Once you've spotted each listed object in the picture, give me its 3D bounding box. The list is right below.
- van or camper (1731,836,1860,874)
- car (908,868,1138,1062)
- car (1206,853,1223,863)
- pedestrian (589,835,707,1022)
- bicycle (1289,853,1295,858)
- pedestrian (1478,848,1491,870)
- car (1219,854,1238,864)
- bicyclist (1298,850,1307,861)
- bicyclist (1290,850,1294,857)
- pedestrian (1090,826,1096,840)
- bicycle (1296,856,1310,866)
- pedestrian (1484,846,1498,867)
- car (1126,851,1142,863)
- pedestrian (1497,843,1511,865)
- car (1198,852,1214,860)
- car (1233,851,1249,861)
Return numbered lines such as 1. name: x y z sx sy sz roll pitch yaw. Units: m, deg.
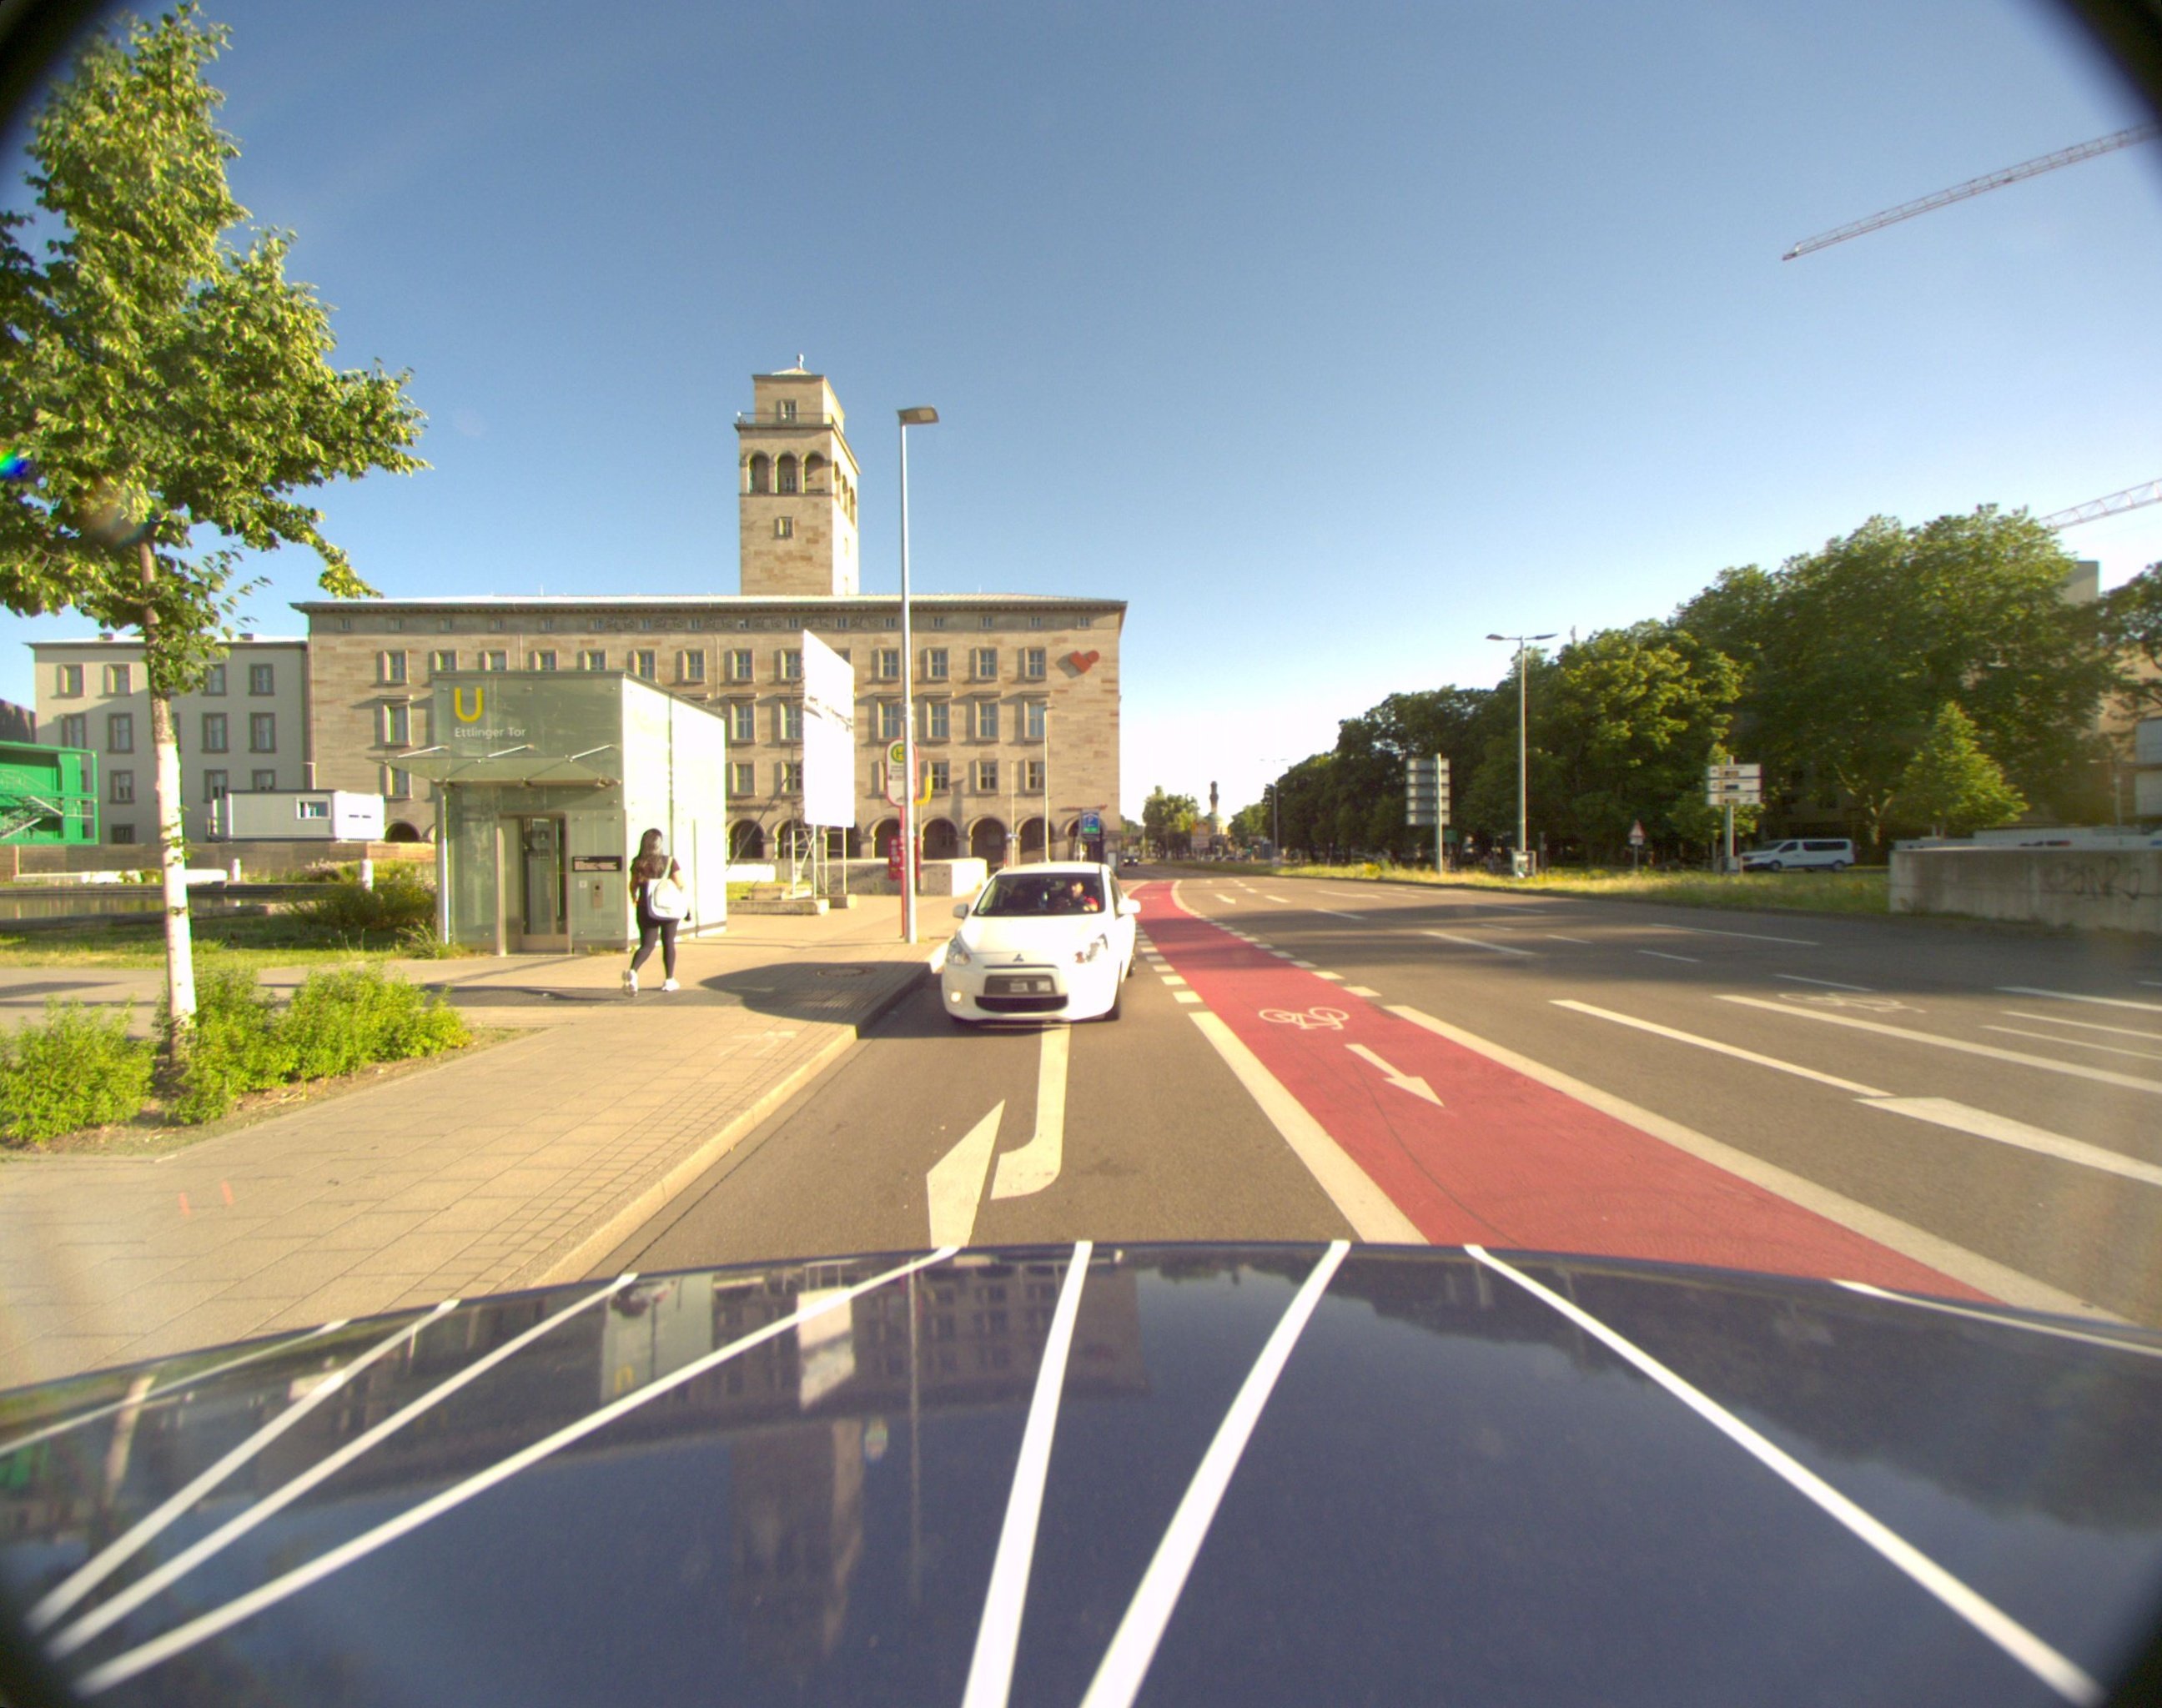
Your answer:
1. van or camper: 42.294 0.072 45.077 5.649 2.002 1.948 -2 1 2
2. car: -0.343 0.954 8.118 1.678 1.440 3.891 -2 0 7
3. car: 20.303 0.577 115.712 1.872 1.390 3.999 -1 0 -1
4. pedestrian: -4.446 0.707 7.902 0.944 1.776 1.070 -1 1 -25
5. bicycle: 35.747 0.312 128.734 0.609 0.838 1.749 0 1 31
6. pedestrian: 32.313 0.392 60.857 0.707 1.715 0.762 -1 1 1
7. car: 20.950 0.642 107.749 1.872 1.390 3.999 -1 0 -1
8. bicyclist: 24.191 0.172 82.966 0.639 1.275 0.885 -1 1 -4
9. bicyclist: 35.744 -0.087 128.725 0.609 1.274 0.716 0 1 31
10. pedestrian: 1.612 -2.755 100.186 0.704 1.843 0.828 -1 1 0
11. bicycle: 24.214 0.779 82.942 0.639 1.016 2.242 -1 0 -4
12. pedestrian: 32.912 0.212 60.978 0.665 1.715 0.762 -1 1 1
13. car: 7.927 0.416 113.785 1.937 1.634 4.616 -1 0 0
14. pedestrian: 33.755 -0.002 60.651 0.707 1.715 0.762 -1 1 1
15. car: 20.695 0.298 126.034 1.873 1.390 3.999 -1 0 -2
16. car: 26.017 0.311 123.621 1.998 1.499 4.000 -1 0 2
